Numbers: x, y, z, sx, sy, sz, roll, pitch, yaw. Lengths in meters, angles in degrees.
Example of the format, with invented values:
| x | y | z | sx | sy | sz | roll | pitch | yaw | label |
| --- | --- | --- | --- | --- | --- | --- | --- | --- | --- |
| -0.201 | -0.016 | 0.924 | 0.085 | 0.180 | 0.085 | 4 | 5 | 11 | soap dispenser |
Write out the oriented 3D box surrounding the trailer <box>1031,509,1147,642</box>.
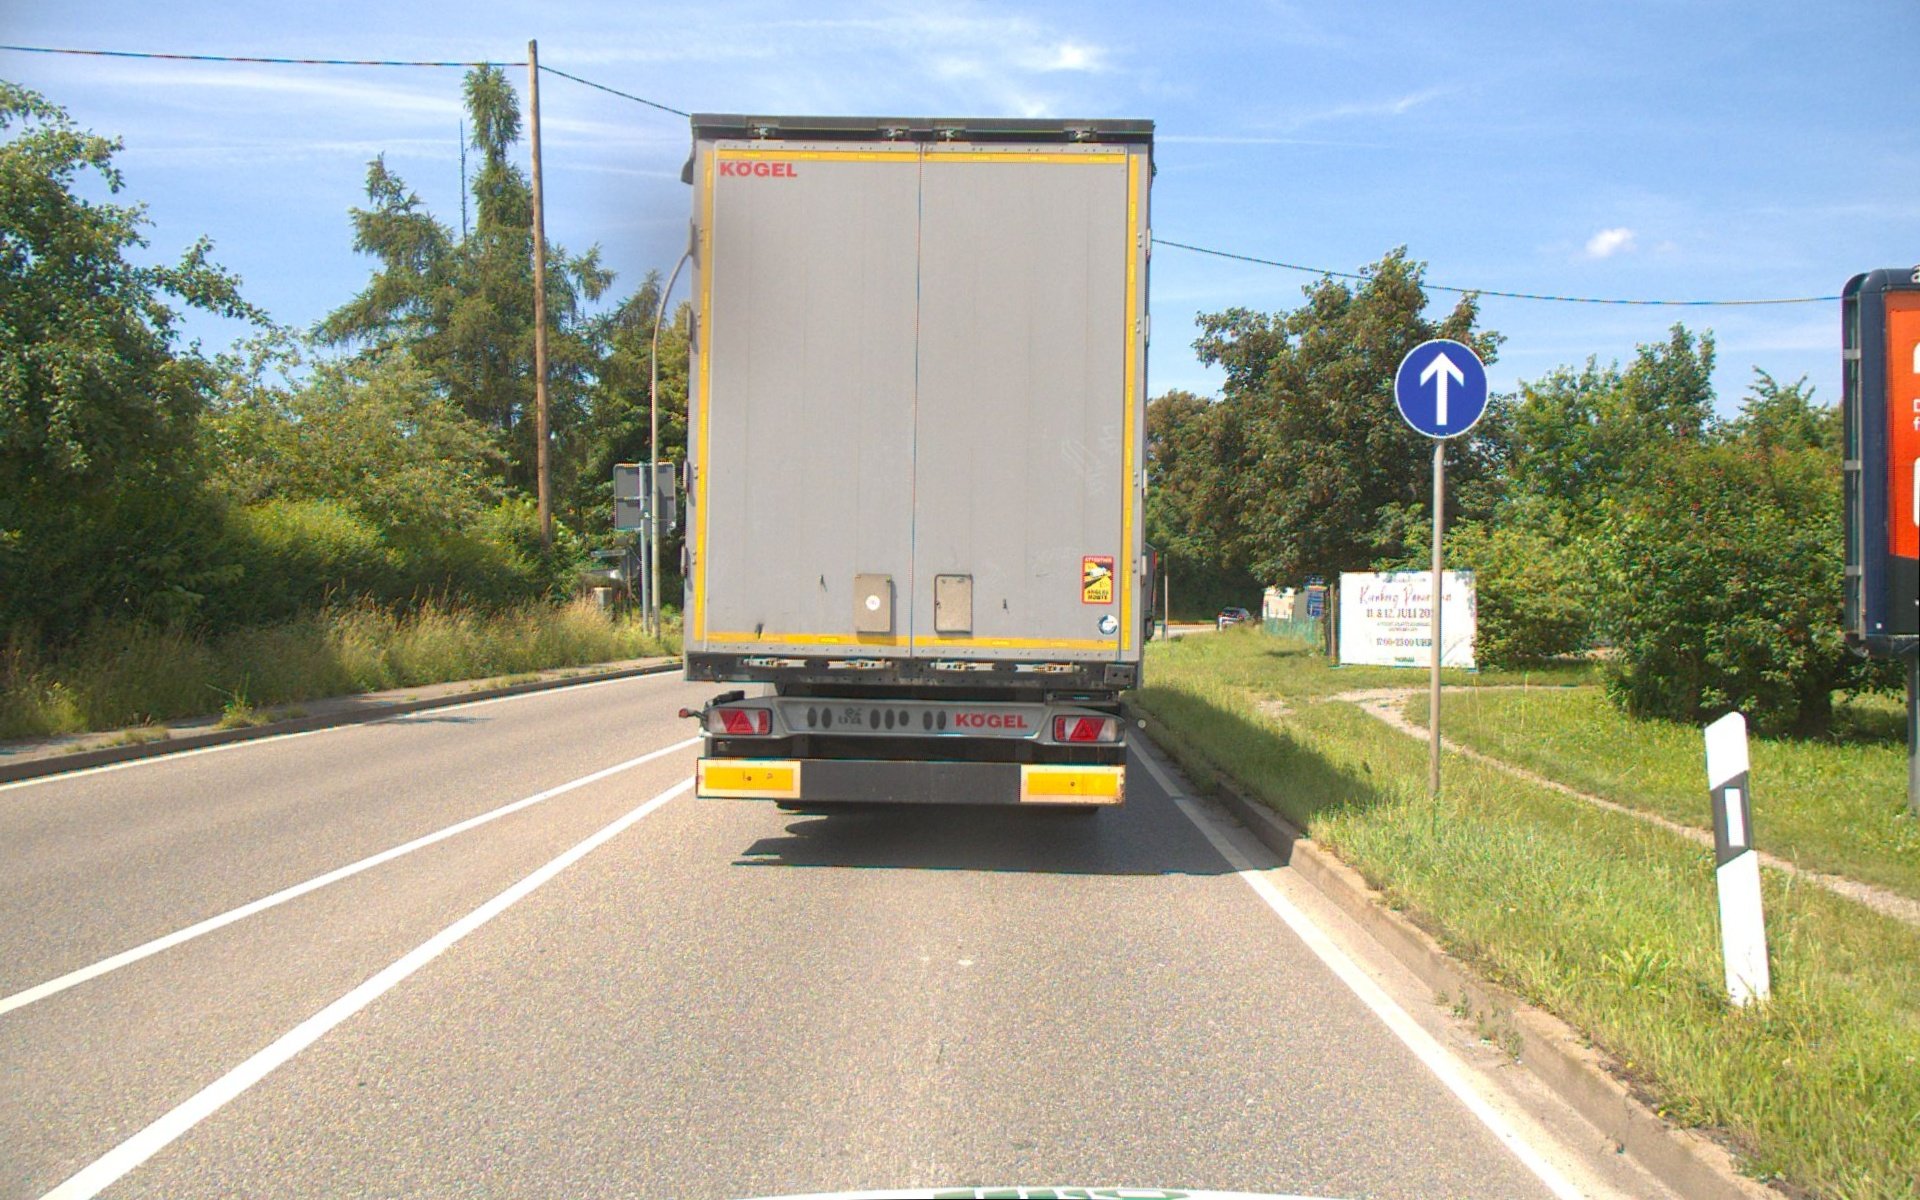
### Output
| x | y | z | sx | sy | sz | roll | pitch | yaw | label |
| --- | --- | --- | --- | --- | --- | --- | --- | --- | --- |
| 5.194 | -0.927 | 63.960 | 3.808 | 4.600 | 12.724 | 0 | 1 | 7 | trailer |

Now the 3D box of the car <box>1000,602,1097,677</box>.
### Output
| x | y | z | sx | sy | sz | roll | pitch | yaw | label |
| --- | --- | --- | --- | --- | --- | --- | --- | --- | --- |
| 2.060 | 0.852 | 37.664 | 1.951 | 1.557 | 4.003 | 1 | 0 | 6 | car |

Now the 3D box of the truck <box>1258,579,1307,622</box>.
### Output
| x | y | z | sx | sy | sz | roll | pitch | yaw | label |
| --- | --- | --- | --- | --- | --- | --- | --- | --- | --- |
| 22.366 | 0.005 | 114.563 | 2.371 | 2.888 | 5.412 | 0 | 1 | 21 | truck |

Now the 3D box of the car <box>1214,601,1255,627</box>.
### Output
| x | y | z | sx | sy | sz | roll | pitch | yaw | label |
| --- | --- | --- | --- | --- | --- | --- | --- | --- | --- |
| 17.137 | 0.838 | 103.192 | 1.803 | 1.512 | 4.000 | 1 | 1 | 21 | car |

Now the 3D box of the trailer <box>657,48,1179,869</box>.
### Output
| x | y | z | sx | sy | sz | roll | pitch | yaw | label |
| --- | --- | --- | --- | --- | --- | --- | --- | --- | --- |
| 0.098 | -0.805 | 14.733 | 2.728 | 4.278 | 12.116 | 0 | 1 | 3 | trailer |

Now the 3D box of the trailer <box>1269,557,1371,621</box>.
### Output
| x | y | z | sx | sy | sz | roll | pitch | yaw | label |
| --- | --- | --- | --- | --- | --- | --- | --- | --- | --- |
| 28.640 | -0.925 | 130.599 | 5.074 | 4.709 | 15.892 | 1 | 1 | 22 | trailer |

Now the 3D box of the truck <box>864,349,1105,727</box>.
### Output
| x | y | z | sx | sy | sz | roll | pitch | yaw | label |
| --- | --- | --- | --- | --- | --- | --- | --- | --- | --- |
| 0.531 | -0.747 | 21.727 | 2.688 | 4.238 | 6.147 | 1 | 1 | 5 | truck |

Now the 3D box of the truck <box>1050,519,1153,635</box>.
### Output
| x | y | z | sx | sy | sz | roll | pitch | yaw | label |
| --- | --- | --- | --- | --- | --- | --- | --- | --- | --- |
| 6.122 | -0.941 | 70.453 | 3.853 | 4.655 | 7.158 | 0 | 0 | 9 | truck |
